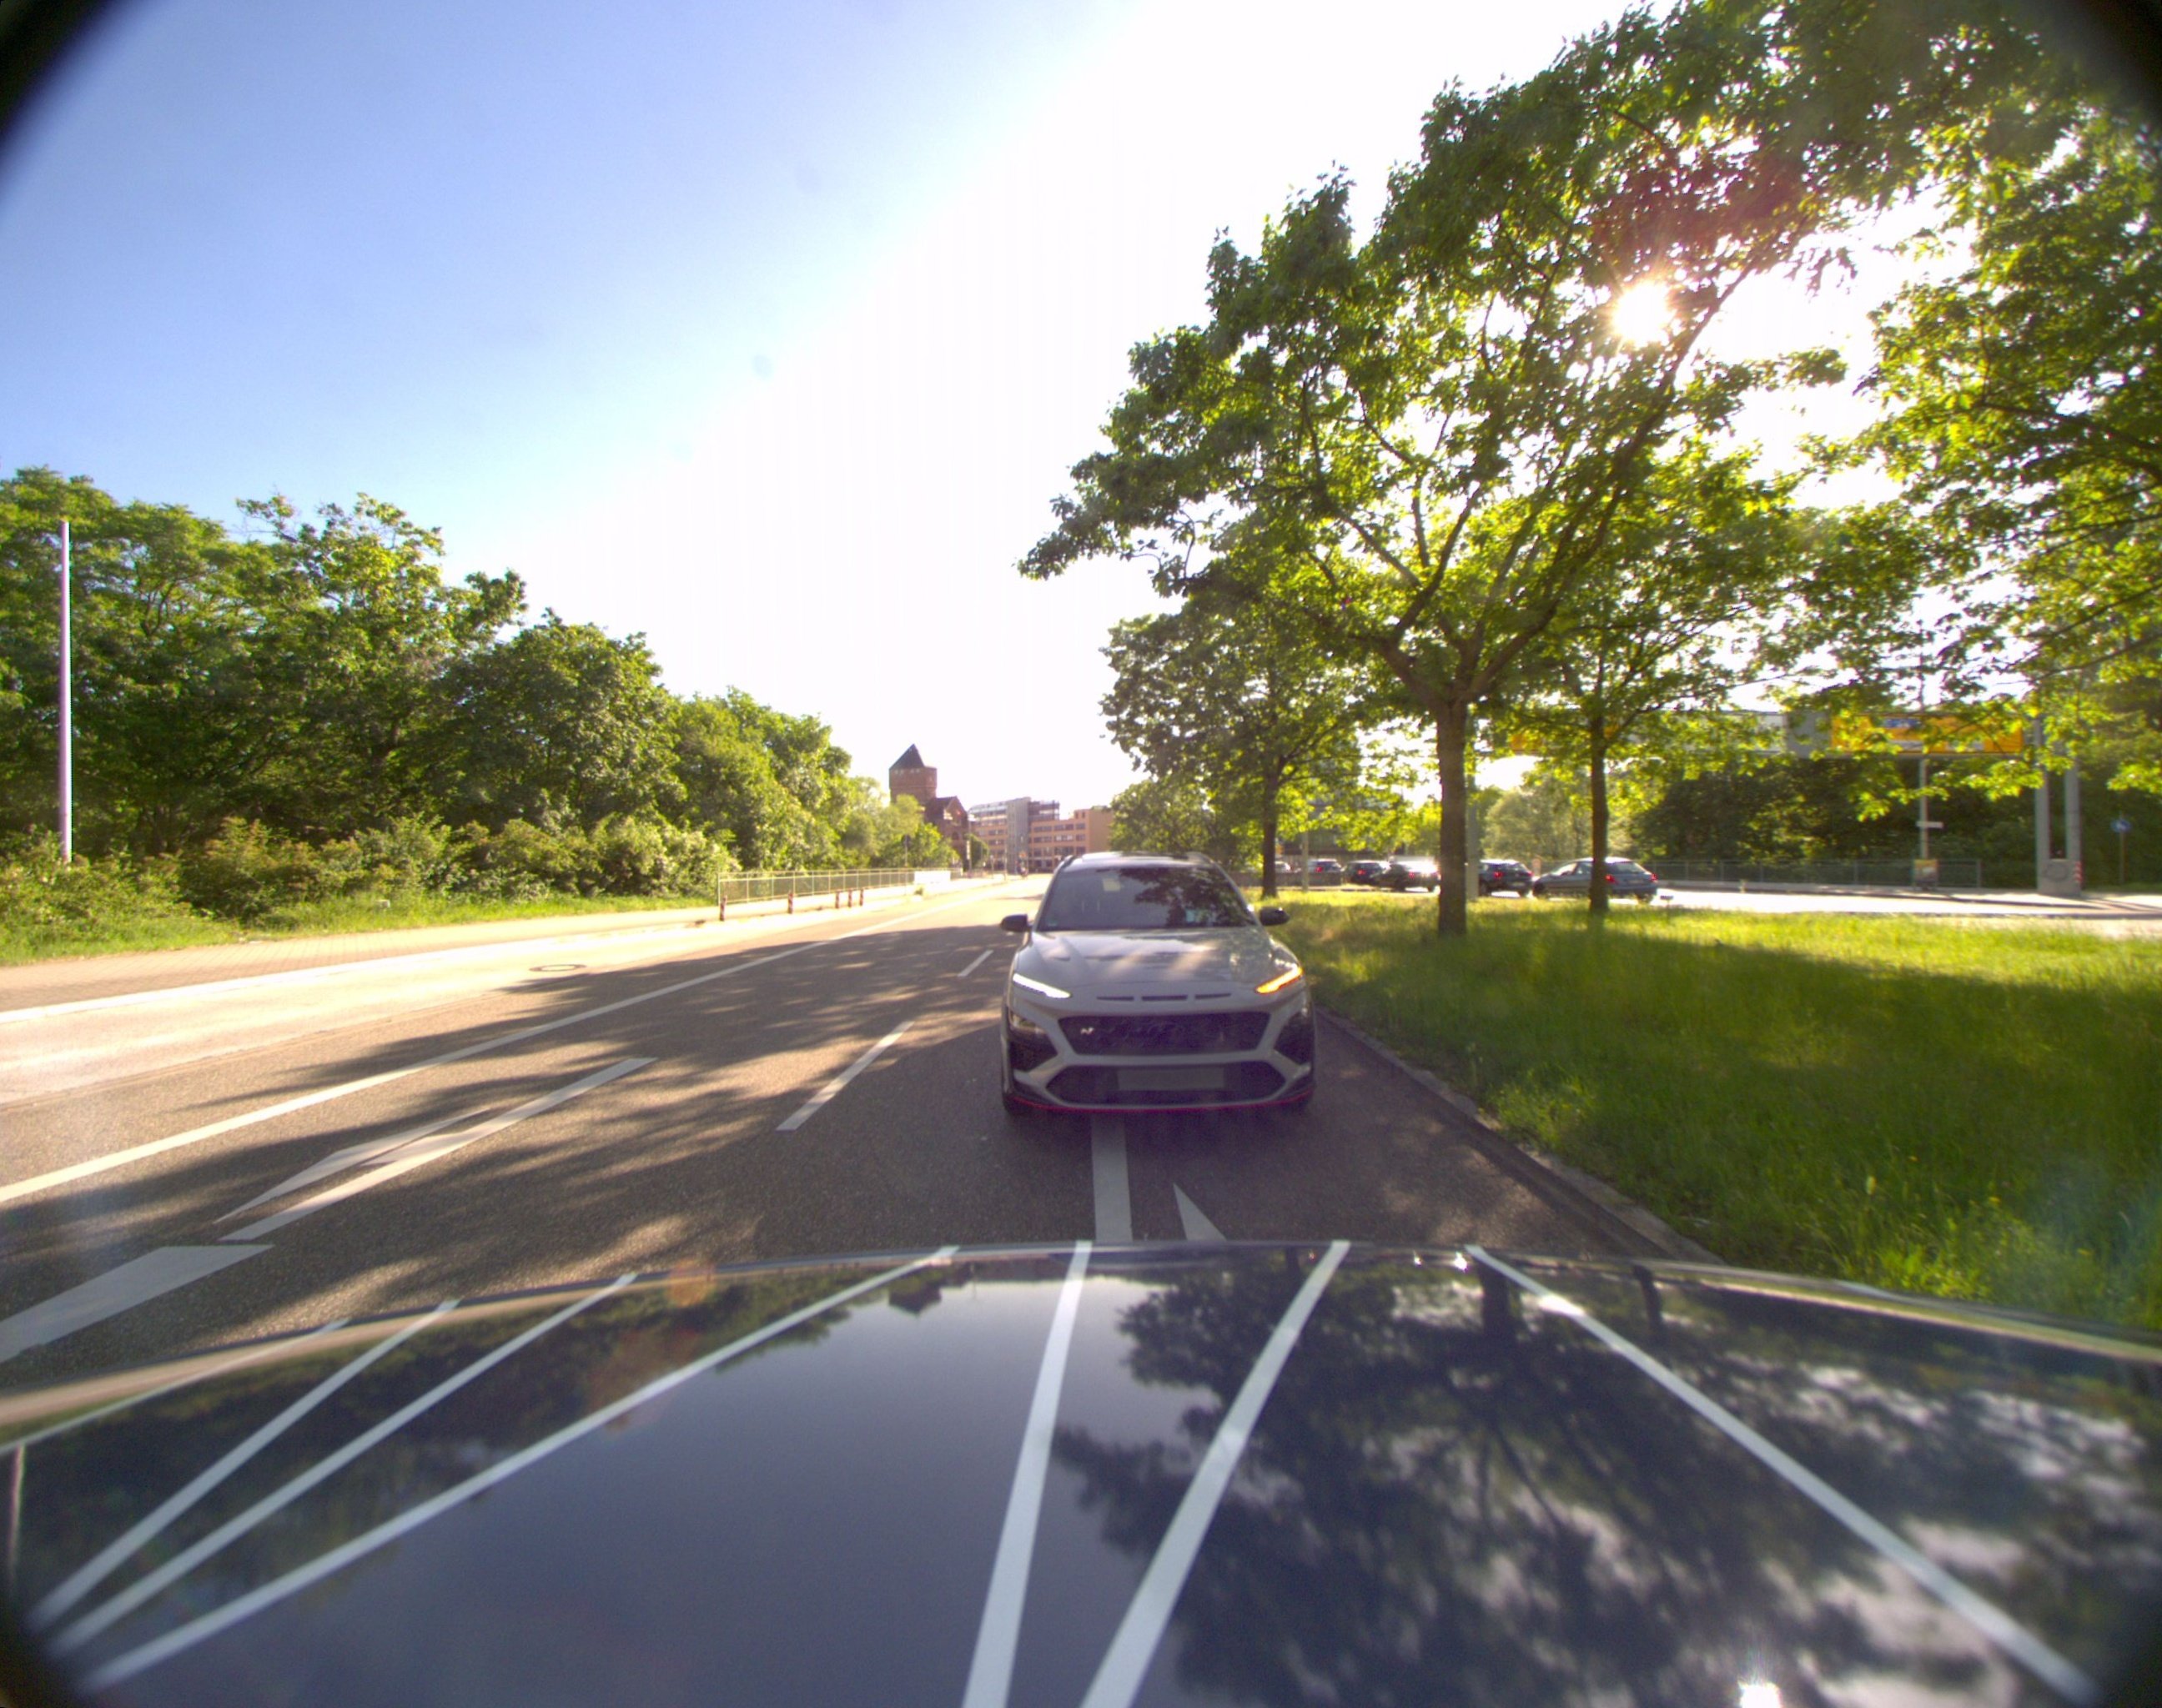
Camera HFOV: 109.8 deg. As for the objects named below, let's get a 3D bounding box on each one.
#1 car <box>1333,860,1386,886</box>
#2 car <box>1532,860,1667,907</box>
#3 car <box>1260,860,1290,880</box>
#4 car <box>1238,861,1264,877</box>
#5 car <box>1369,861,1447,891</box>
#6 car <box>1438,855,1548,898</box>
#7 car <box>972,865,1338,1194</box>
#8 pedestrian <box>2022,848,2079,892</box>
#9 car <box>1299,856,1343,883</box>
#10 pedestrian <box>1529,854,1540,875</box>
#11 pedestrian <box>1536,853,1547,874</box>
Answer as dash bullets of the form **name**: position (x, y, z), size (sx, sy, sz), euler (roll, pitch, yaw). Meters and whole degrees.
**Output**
- **car**: position (15.153, 1.034, 41.471), size (1.481, 1.331, 3.202), euler (-1, -1, -6)
- **car**: position (16.391, 0.881, 24.236), size (1.561, 1.355, 3.608), euler (-1, -1, -6)
- **car**: position (14.323, 1.209, 56.130), size (1.228, 1.331, 2.882), euler (-1, -3, -6)
- **car**: position (13.941, 1.281, 62.383), size (1.199, 1.252, 2.768), euler (-1, -2, -6)
- **car**: position (15.476, 0.998, 36.215), size (1.623, 1.305, 4.066), euler (-1, 0, -6)
- **car**: position (16.188, 0.846, 30.142), size (1.875, 1.541, 4.221), euler (-1, 0, -4)
- **car**: position (0.387, 0.883, 5.682), size (1.752, 1.523, 3.988), euler (-1, 0, 1)
- **pedestrian**: position (36.406, 0.592, 28.544), size (0.913, 1.620, 0.989), euler (-1, 0, 13)
- **car**: position (14.972, 0.993, 47.539), size (1.450, 1.549, 3.202), euler (-1, -2, -6)
- **pedestrian**: position (32.649, 0.740, 54.754), size (0.421, 1.490, 0.545), euler (-1, 0, -7)
- **pedestrian**: position (33.091, 0.708, 54.600), size (0.421, 1.490, 0.545), euler (-1, 0, -7)
